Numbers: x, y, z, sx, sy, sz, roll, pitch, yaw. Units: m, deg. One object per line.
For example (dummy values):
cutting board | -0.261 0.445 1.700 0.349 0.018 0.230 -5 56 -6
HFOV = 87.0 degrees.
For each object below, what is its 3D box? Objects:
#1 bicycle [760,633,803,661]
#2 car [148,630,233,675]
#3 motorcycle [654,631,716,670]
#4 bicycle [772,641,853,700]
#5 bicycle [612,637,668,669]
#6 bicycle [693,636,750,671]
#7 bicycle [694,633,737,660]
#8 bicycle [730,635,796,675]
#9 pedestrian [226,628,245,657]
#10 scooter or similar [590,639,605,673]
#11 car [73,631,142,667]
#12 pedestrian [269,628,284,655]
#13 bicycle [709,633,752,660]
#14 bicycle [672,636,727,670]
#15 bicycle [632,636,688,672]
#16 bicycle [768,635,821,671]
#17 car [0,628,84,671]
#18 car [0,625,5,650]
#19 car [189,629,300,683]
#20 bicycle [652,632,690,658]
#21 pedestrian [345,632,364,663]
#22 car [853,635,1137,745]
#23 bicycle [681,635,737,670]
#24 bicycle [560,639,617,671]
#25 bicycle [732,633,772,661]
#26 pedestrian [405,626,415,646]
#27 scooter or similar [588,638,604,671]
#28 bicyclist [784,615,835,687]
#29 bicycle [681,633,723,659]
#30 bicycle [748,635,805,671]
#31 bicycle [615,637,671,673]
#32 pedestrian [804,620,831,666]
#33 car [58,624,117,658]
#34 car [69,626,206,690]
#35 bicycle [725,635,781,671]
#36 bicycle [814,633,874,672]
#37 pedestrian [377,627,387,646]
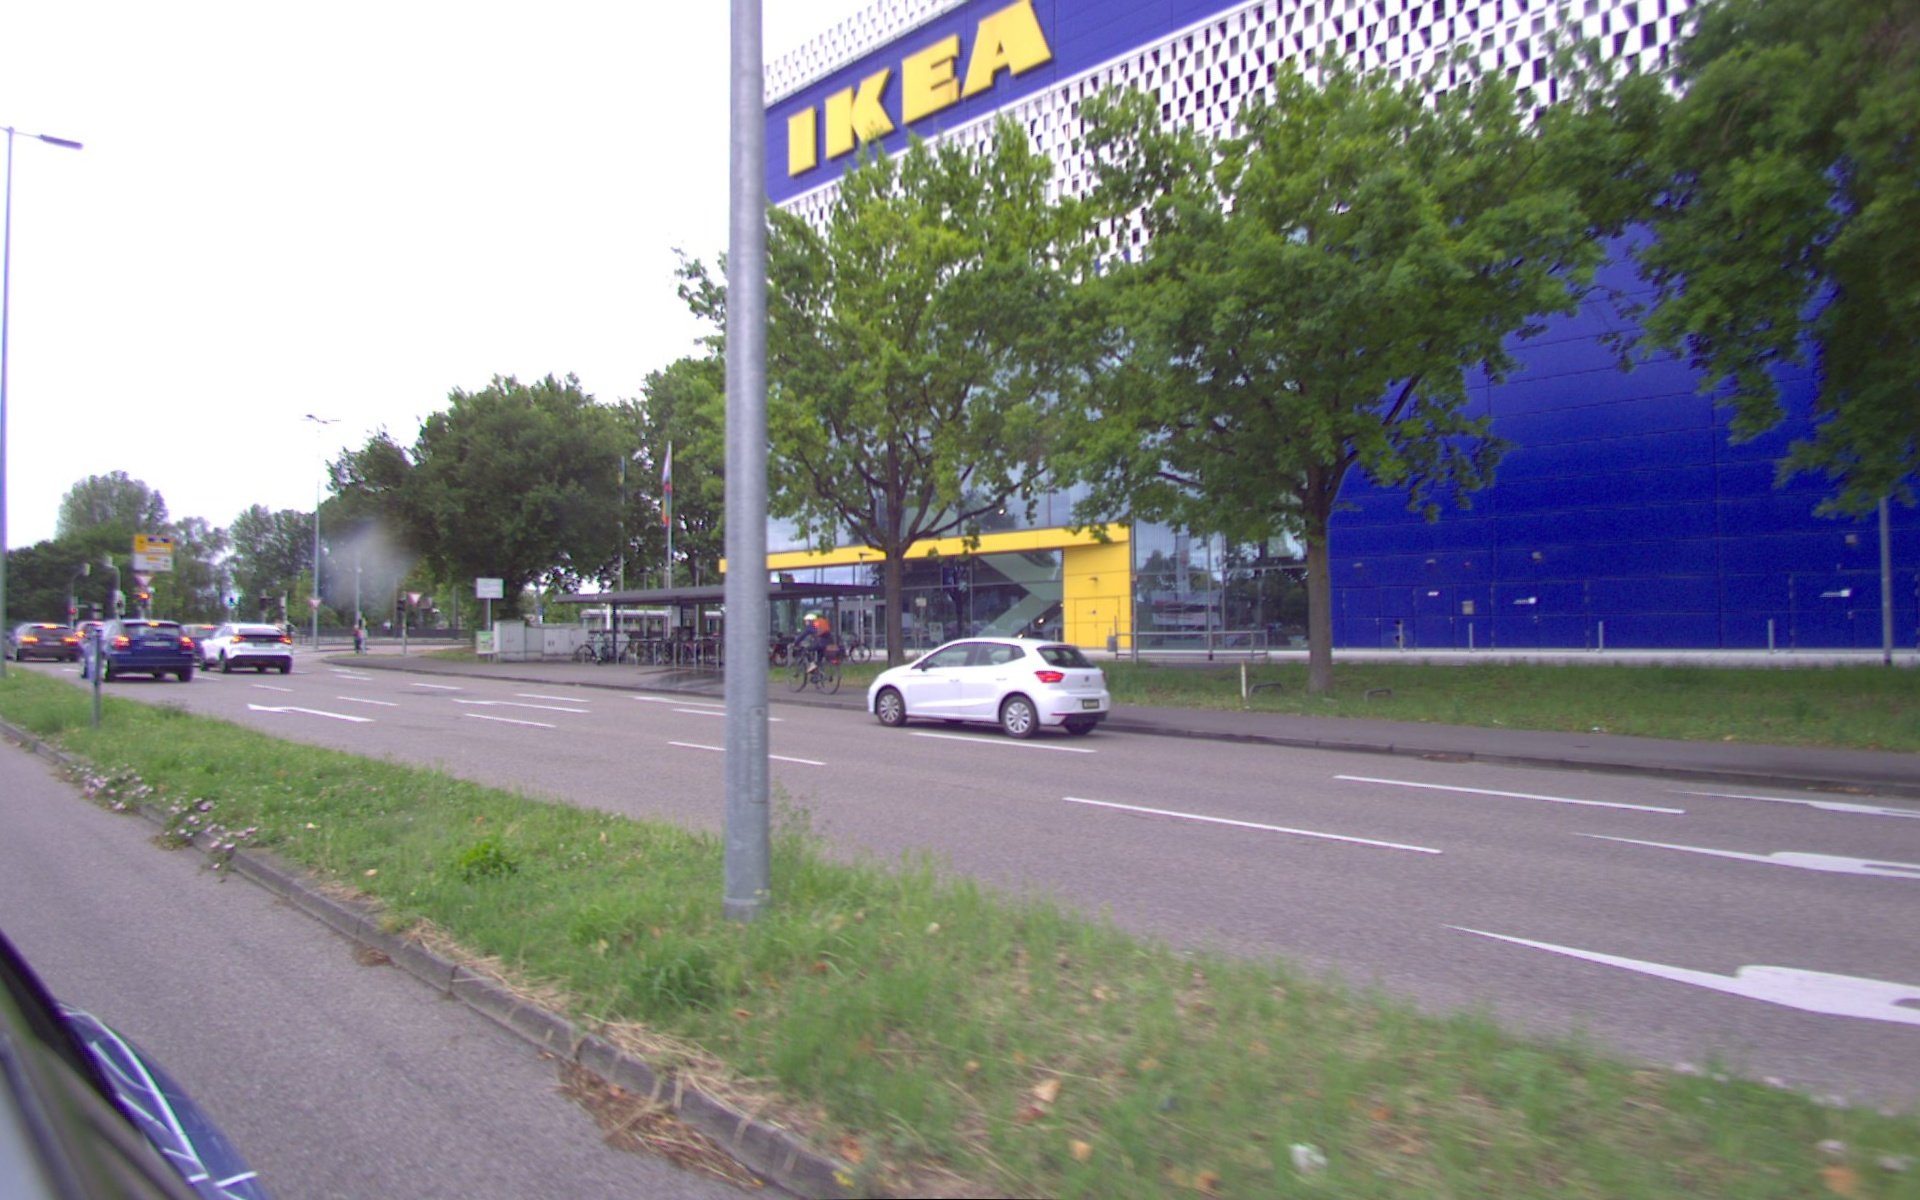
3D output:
bicycle | -7.806 2.042 44.358 0.592 1.165 1.998 -2 -1 35
car | -27.748 1.873 36.441 4.035 1.509 1.586 -1 -4 41
motorcycle | -10.528 1.916 38.866 0.797 1.365 2.476 -2 0 29
bicycle | -3.384 1.585 23.065 2.055 1.260 0.636 -2 -1 41
bicycle | -12.738 2.104 40.307 1.988 1.165 0.595 -1 0 -32
bicycle | -8.561 1.913 36.410 0.593 1.165 1.994 -2 0 41
bicycle | -11.481 2.177 47.546 0.593 1.165 1.995 -2 -1 39
bicycle | -6.389 1.772 32.834 1.988 1.165 0.595 -1 0 -34
pedestrian | -44.764 2.621 62.502 0.686 1.778 0.656 3 -2 39
scooter or similar | -13.136 2.023 36.671 0.417 1.157 1.353 -1 0 -17
car | -37.181 2.105 44.112 4.063 1.514 1.644 -2 -3 41
pedestrian | -45.235 2.741 66.945 0.666 1.725 0.766 2 -2 -45
bicycle | -10.569 2.130 46.719 0.593 1.165 1.995 -2 -1 39
bicycle | -9.763 1.960 37.970 0.593 1.165 1.994 -2 0 41
bicycle | -10.658 1.918 36.019 0.593 1.165 1.874 -2 0 41
bicycle | -5.571 1.779 34.142 0.593 1.090 1.791 -2 0 41
car | -34.185 1.810 37.492 4.427 1.447 1.864 -1 -3 40
car | -58.901 2.326 60.942 4.370 1.419 1.654 -4 -4 41
car | -22.522 1.721 31.816 4.180 1.530 1.910 -1 -3 42
bicycle | -14.224 2.214 49.878 0.590 1.165 2.005 -2 -1 25
pedestrian | -34.008 2.659 56.849 0.808 1.655 0.627 1 -1 39
car | 0.448 1.307 15.594 4.166 1.465 1.846 -2 -4 41
bicycle | -9.279 1.917 37.449 0.593 1.165 1.994 -2 0 41
bicycle | -14.254 2.108 38.877 0.593 1.165 1.994 -2 -2 41
bicycle | -9.373 2.122 45.624 0.591 1.165 2.003 -2 -1 28
pedestrian | -48.517 3.164 89.293 0.788 1.755 0.578 -5 -4 43
scooter or similar | -13.742 2.052 38.250 0.353 1.194 1.296 -1 -1 -11
bicyclist | -3.443 1.145 23.090 0.999 1.589 0.633 -2 -1 41
bicycle | -12.301 2.182 48.287 0.593 1.165 1.995 -2 -1 39
bicycle | -6.383 1.828 35.251 0.593 1.165 1.994 -2 0 41
bicycle | -11.485 1.981 36.712 0.593 1.165 1.874 -2 0 41
pedestrian | -5.543 1.657 39.408 0.808 1.759 0.670 -3 -2 41
car | -41.362 1.939 47.947 3.207 1.514 1.586 -2 -3 40
car | -20.966 1.442 25.729 4.437 1.497 1.911 -2 -4 41
bicycle | -7.366 1.879 36.102 0.593 1.165 1.994 -2 0 41
bicycle | -3.756 1.690 32.903 0.594 1.131 1.993 -2 0 43
pedestrian | -49.855 3.168 87.303 0.711 1.572 0.623 -5 -4 43
